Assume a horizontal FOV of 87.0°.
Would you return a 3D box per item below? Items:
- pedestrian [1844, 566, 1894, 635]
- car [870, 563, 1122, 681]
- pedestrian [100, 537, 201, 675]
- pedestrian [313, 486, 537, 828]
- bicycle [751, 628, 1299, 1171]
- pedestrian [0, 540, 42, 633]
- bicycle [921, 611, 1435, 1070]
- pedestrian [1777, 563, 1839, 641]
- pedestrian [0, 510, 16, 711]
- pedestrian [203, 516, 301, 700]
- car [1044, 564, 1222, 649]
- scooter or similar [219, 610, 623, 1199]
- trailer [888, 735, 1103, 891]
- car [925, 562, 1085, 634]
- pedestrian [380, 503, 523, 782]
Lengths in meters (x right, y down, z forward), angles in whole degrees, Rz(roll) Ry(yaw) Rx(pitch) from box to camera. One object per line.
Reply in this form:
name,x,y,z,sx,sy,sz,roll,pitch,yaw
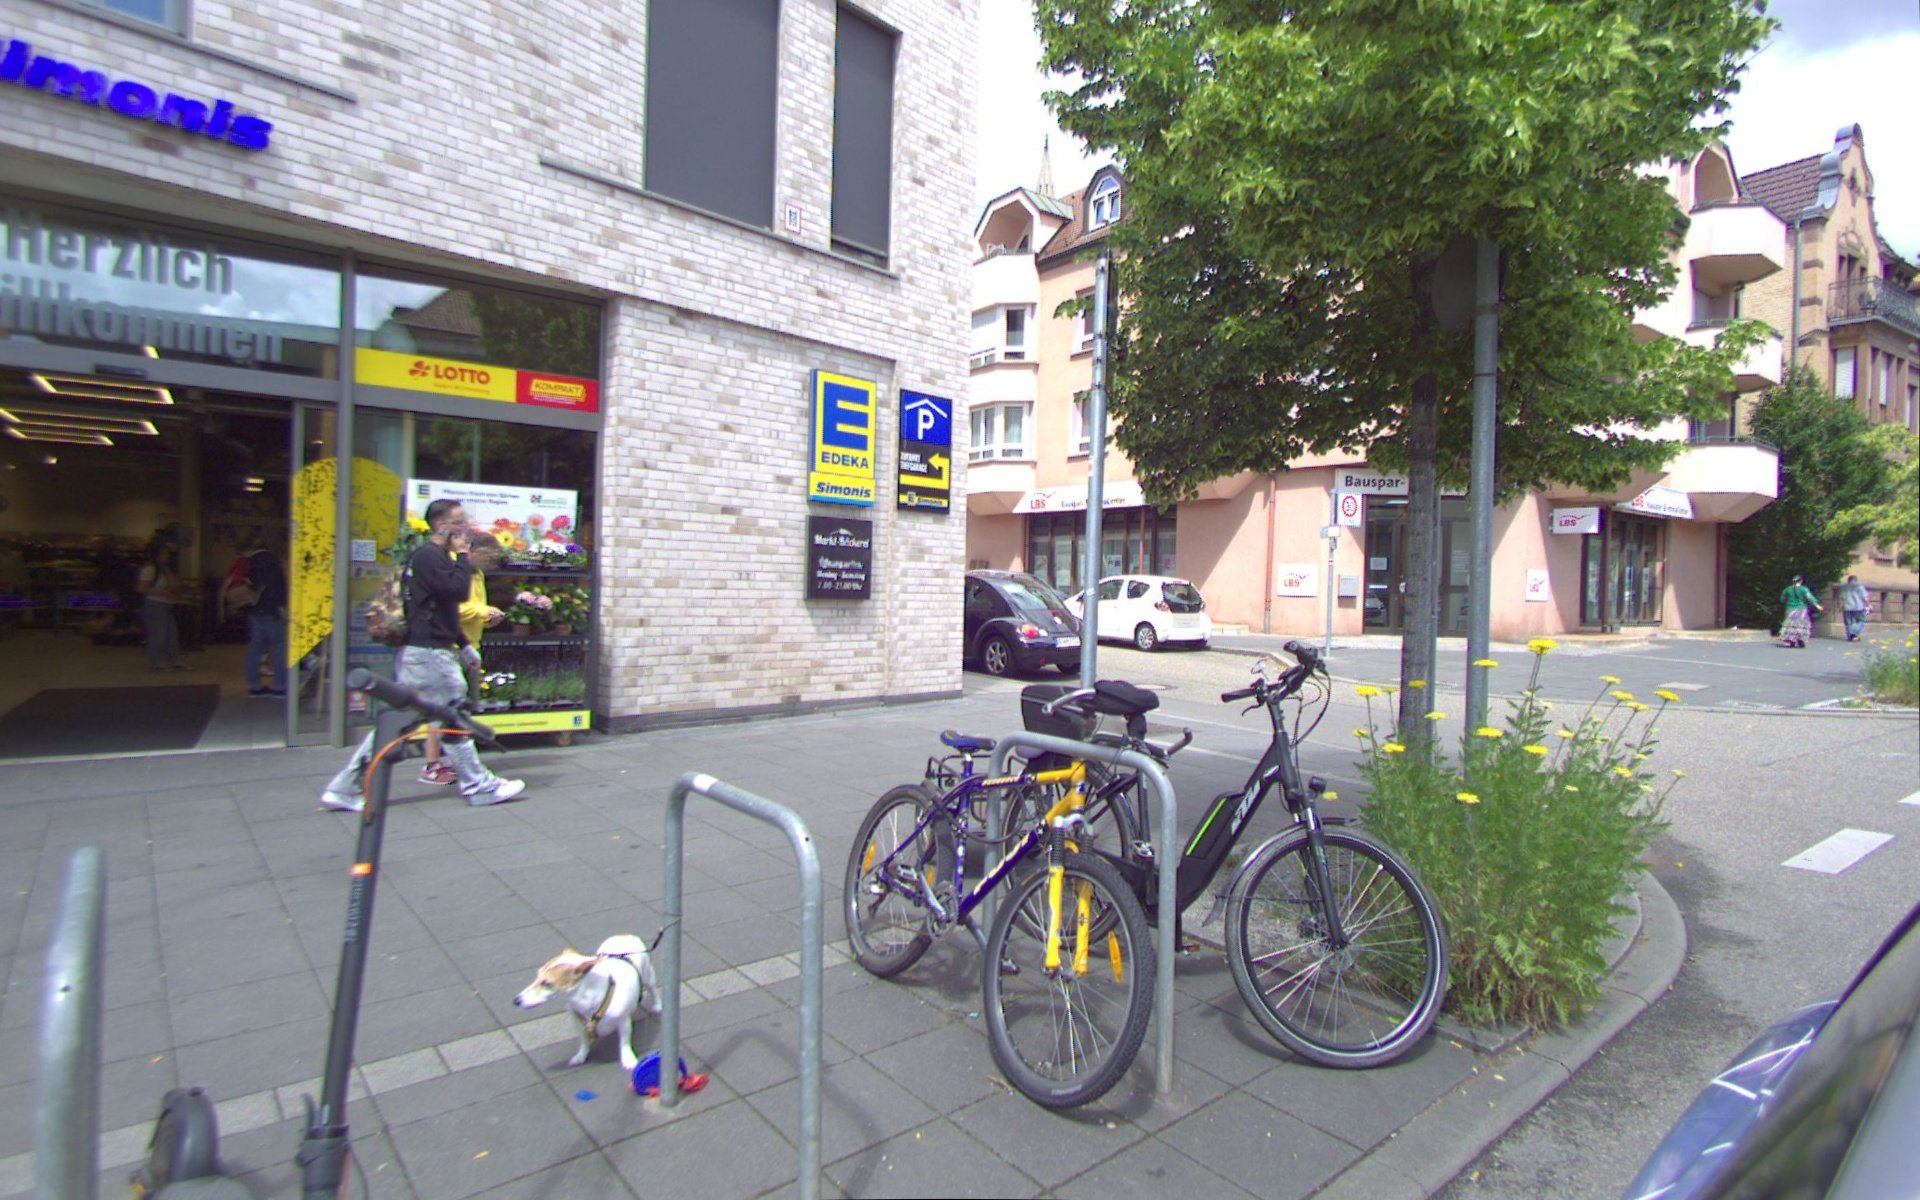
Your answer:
pedestrian,23.024,-0.009,25.625,0.927,1.706,0.718,-1,3,-36
car,0.443,0.241,15.824,1.752,1.495,3.903,0,3,-40
pedestrian,-9.710,0.055,12.148,0.675,1.580,0.703,2,1,21
pedestrian,-3.055,0.281,5.791,1.000,1.763,0.659,0,2,-41
bicycle,0.083,0.739,3.338,0.743,1.145,1.827,0,3,-39
pedestrian,-16.566,-0.244,17.708,0.695,1.580,0.682,0,1,-39
bicycle,0.707,0.706,3.860,0.743,1.215,1.827,0,3,-39
pedestrian,18.876,0.043,22.537,0.909,1.659,0.747,1,3,-34
pedestrian,-8.485,0.088,8.512,0.646,1.713,0.684,1,1,-29
pedestrian,-7.066,0.061,10.101,0.727,1.748,0.661,-1,1,-39
car,3.475,0.074,20.801,1.685,1.495,3.394,0,3,-34
scooter or similar,-1.137,0.690,2.011,0.485,1.265,1.199,0,3,-39
trailer,0.171,1.020,5.048,0.796,0.535,0.722,0,1,-36
car,0.996,-0.100,24.482,1.797,1.495,4.025,0,3,-34
pedestrian,-3.272,0.257,6.561,0.619,1.713,0.660,1,1,-6
